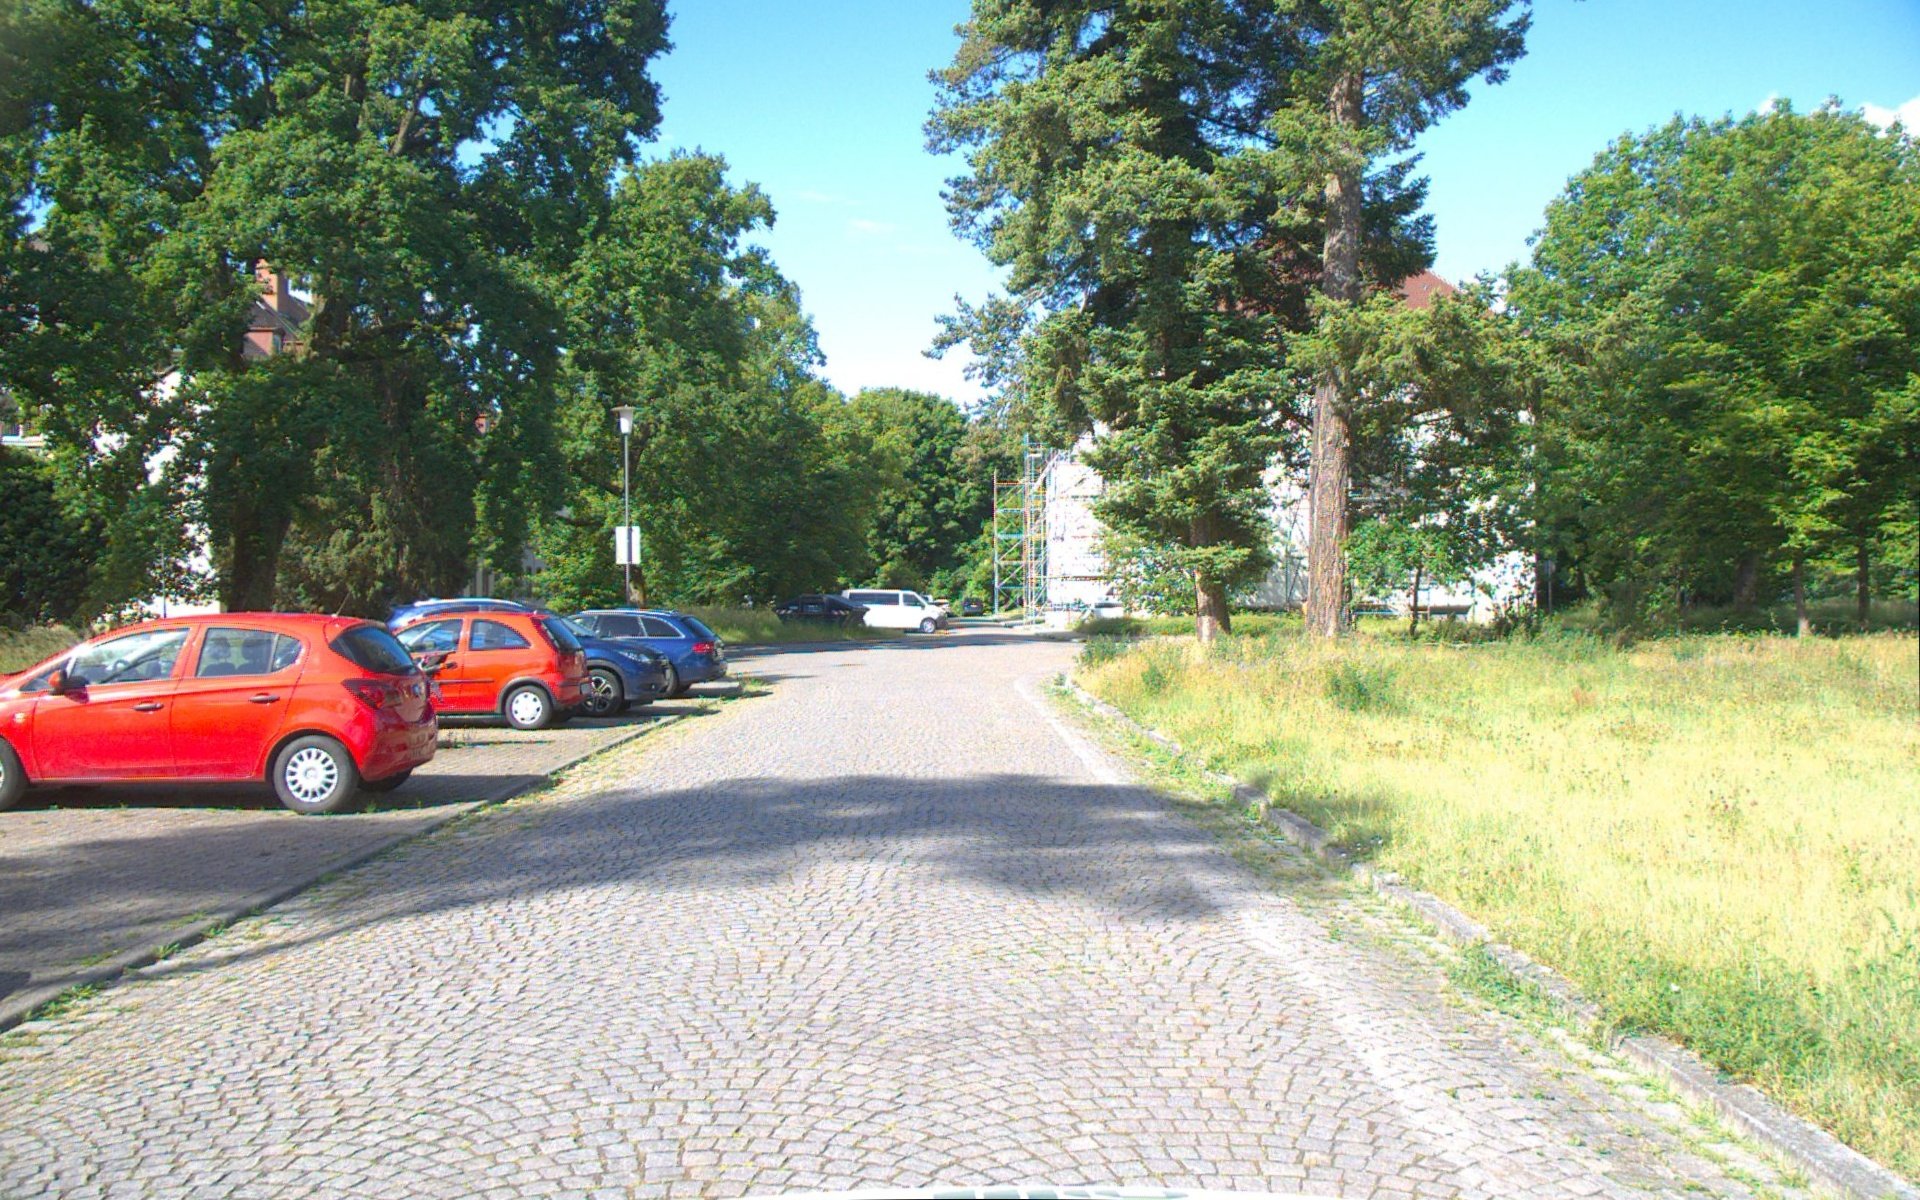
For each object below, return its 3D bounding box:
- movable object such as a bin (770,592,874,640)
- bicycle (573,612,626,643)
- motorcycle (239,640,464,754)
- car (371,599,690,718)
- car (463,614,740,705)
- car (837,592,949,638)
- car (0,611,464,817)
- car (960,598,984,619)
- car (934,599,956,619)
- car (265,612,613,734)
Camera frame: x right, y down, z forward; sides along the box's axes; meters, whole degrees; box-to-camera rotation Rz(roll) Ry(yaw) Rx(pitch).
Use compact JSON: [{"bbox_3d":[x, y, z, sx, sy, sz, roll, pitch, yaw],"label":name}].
[{"bbox_3d":[-5.326,0.623,64.025,3.490,1.775,2.026,-1,0,18],"label":"movable object such as a bin"},{"bbox_3d":[-13.603,1.025,62.467,1.886,1.076,0.473,-3,1,-22],"label":"bicycle"},{"bbox_3d":[-6.506,1.030,17.743,2.196,1.182,0.577,0,0,0],"label":"motorcycle"},{"bbox_3d":[-6.023,0.804,23.543,4.051,1.607,1.884,0,0,-1],"label":"car"},{"bbox_3d":[-6.041,0.984,28.225,4.269,1.470,1.921,0,0,2],"label":"car"},{"bbox_3d":[-3.114,0.695,77.163,5.128,2.051,1.949,0,0,-2],"label":"car"},{"bbox_3d":[-6.166,0.863,13.255,3.844,1.486,1.841,0,0,-3],"label":"car"},{"bbox_3d":[1.040,0.732,143.555,1.931,1.697,4.085,-1,0,-1],"label":"car"},{"bbox_3d":[-1.312,0.760,143.209,1.775,1.607,4.133,-1,0,-1],"label":"car"},{"bbox_3d":[-6.559,0.898,21.136,3.842,1.458,1.842,0,0,0],"label":"car"}]
